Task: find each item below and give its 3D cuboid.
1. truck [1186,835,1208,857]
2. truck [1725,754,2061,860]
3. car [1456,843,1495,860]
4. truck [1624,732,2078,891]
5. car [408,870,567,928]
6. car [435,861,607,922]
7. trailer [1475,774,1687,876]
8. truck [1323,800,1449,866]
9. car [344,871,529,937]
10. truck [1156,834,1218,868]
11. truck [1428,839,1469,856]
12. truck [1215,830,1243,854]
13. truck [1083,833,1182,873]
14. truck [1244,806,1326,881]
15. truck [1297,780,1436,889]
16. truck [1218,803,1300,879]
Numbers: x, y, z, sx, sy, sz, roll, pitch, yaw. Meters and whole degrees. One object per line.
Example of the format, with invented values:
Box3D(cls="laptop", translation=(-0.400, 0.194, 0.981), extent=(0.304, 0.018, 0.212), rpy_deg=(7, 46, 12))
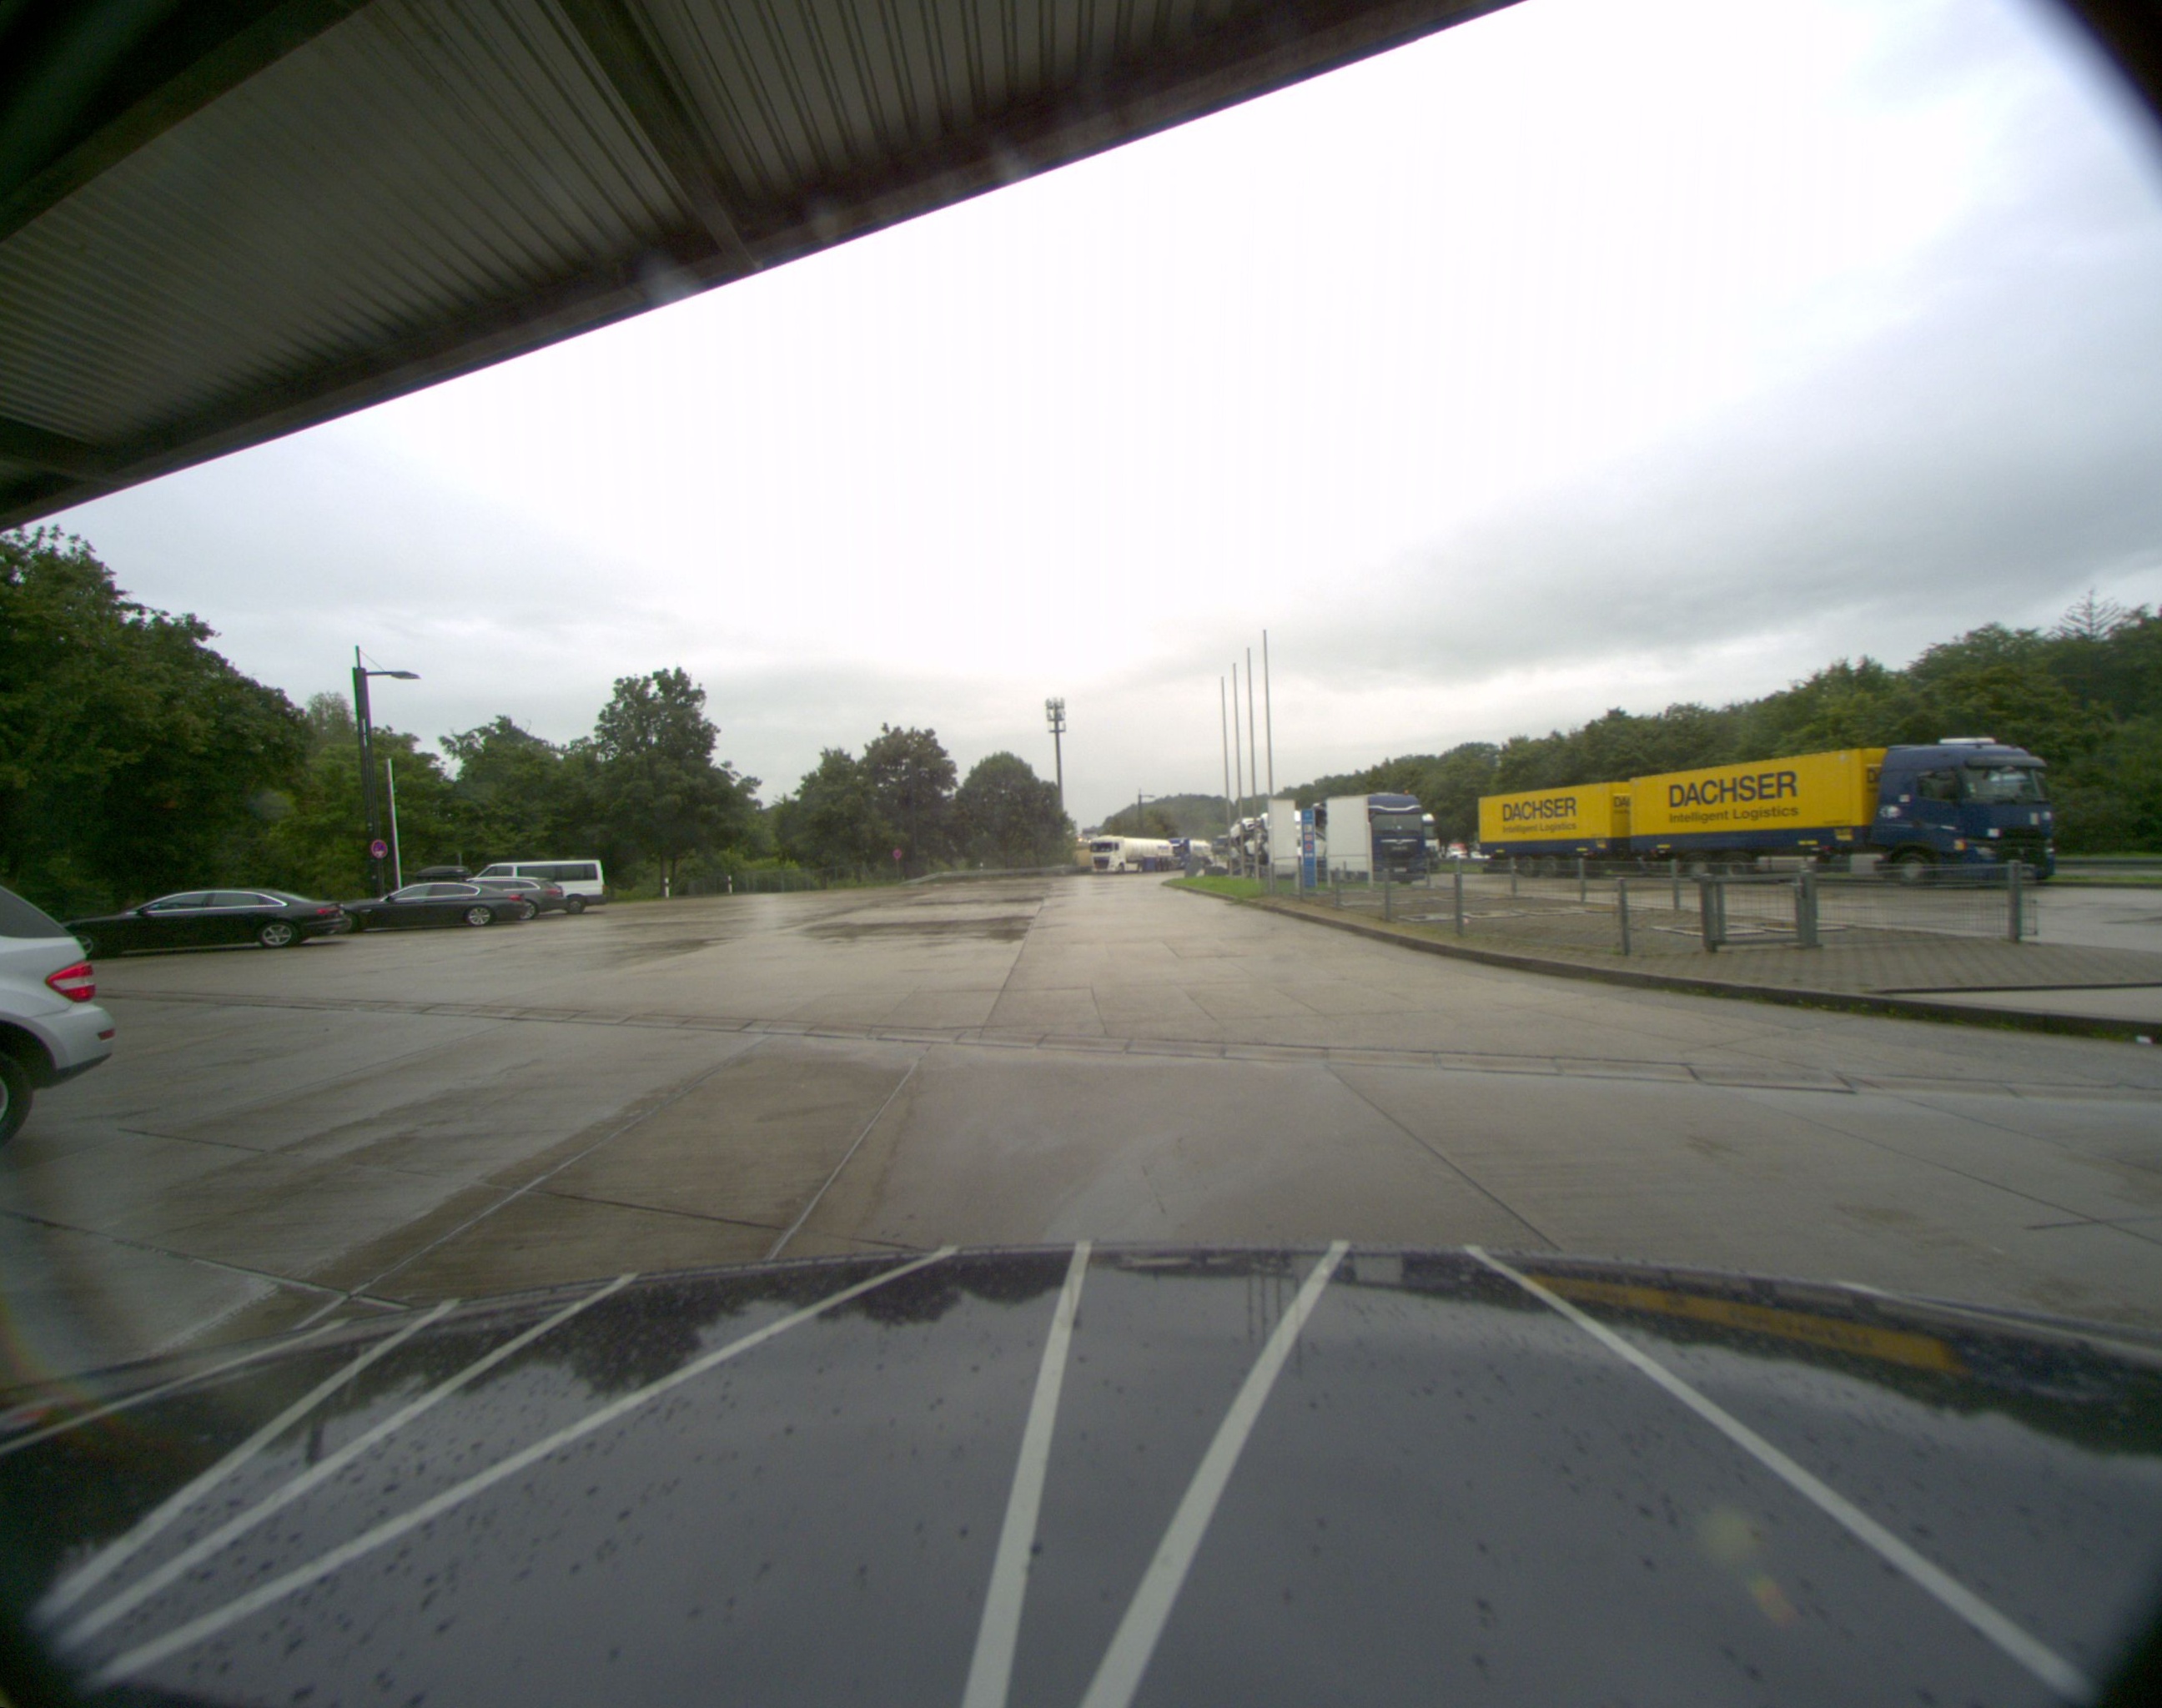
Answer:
Box3D(cls="truck", translation=(22.924, -1.561, 151.215), extent=(3.143, 4.105, 11.523), rpy_deg=(-2, 1, 3))
Box3D(cls="truck", translation=(33.907, -1.749, 32.720), extent=(2.421, 3.785, 10.223), rpy_deg=(-2, 1, -10))
Box3D(cls="car", translation=(46.259, -0.298, 89.271), extent=(1.730, 1.879, 4.367), rpy_deg=(-2, 1, -10))
Box3D(cls="truck", translation=(23.150, -1.119, 24.333), extent=(2.757, 3.894, 10.678), rpy_deg=(-2, 1, -8))
Box3D(cls="car", translation=(-19.475, 1.427, 25.163), extent=(4.007, 1.650, 1.596), rpy_deg=(-2, 0, -35))
Box3D(cls="car", translation=(-20.431, 1.288, 28.000), extent=(4.898, 1.938, 2.310), rpy_deg=(-2, 0, -35))
Box3D(cls="trailer", translation=(21.788, -1.175, 33.954), extent=(2.757, 3.894, 8.700), rpy_deg=(-2, 1, -9))
Box3D(cls="truck", translation=(19.878, -1.291, 50.575), extent=(2.757, 3.894, 10.678), rpy_deg=(-2, 1, -8))
Box3D(cls="car", translation=(-18.880, 1.394, 22.511), extent=(4.007, 1.650, 1.596), rpy_deg=(-2, 0, -35))
Box3D(cls="truck", translation=(12.774, -0.396, 89.696), extent=(3.506, 3.584, 14.686), rpy_deg=(-2, 0, 23))
Box3D(cls="truck", translation=(51.165, -0.900, 105.866), extent=(2.082, 2.112, 5.827), rpy_deg=(-2, 1, -10))
Box3D(cls="truck", translation=(33.742, -2.728, 174.178), extent=(3.145, 5.092, 11.515), rpy_deg=(-2, 1, -5))
Box3D(cls="truck", translation=(5.447, -0.155, 75.214), extent=(3.505, 3.584, 14.426), rpy_deg=(-2, 0, 31))
Box3D(cls="truck", translation=(11.042, -0.552, 41.594), extent=(2.665, 3.750, 4.747), rpy_deg=(-2, 1, -6))
Box3D(cls="truck", translation=(12.180, -0.790, 33.186), extent=(2.665, 4.157, 7.103), rpy_deg=(-2, 0, -6))
Box3D(cls="truck", translation=(10.566, -0.720, 45.785), extent=(2.665, 4.157, 6.618), rpy_deg=(-2, 1, -6))
